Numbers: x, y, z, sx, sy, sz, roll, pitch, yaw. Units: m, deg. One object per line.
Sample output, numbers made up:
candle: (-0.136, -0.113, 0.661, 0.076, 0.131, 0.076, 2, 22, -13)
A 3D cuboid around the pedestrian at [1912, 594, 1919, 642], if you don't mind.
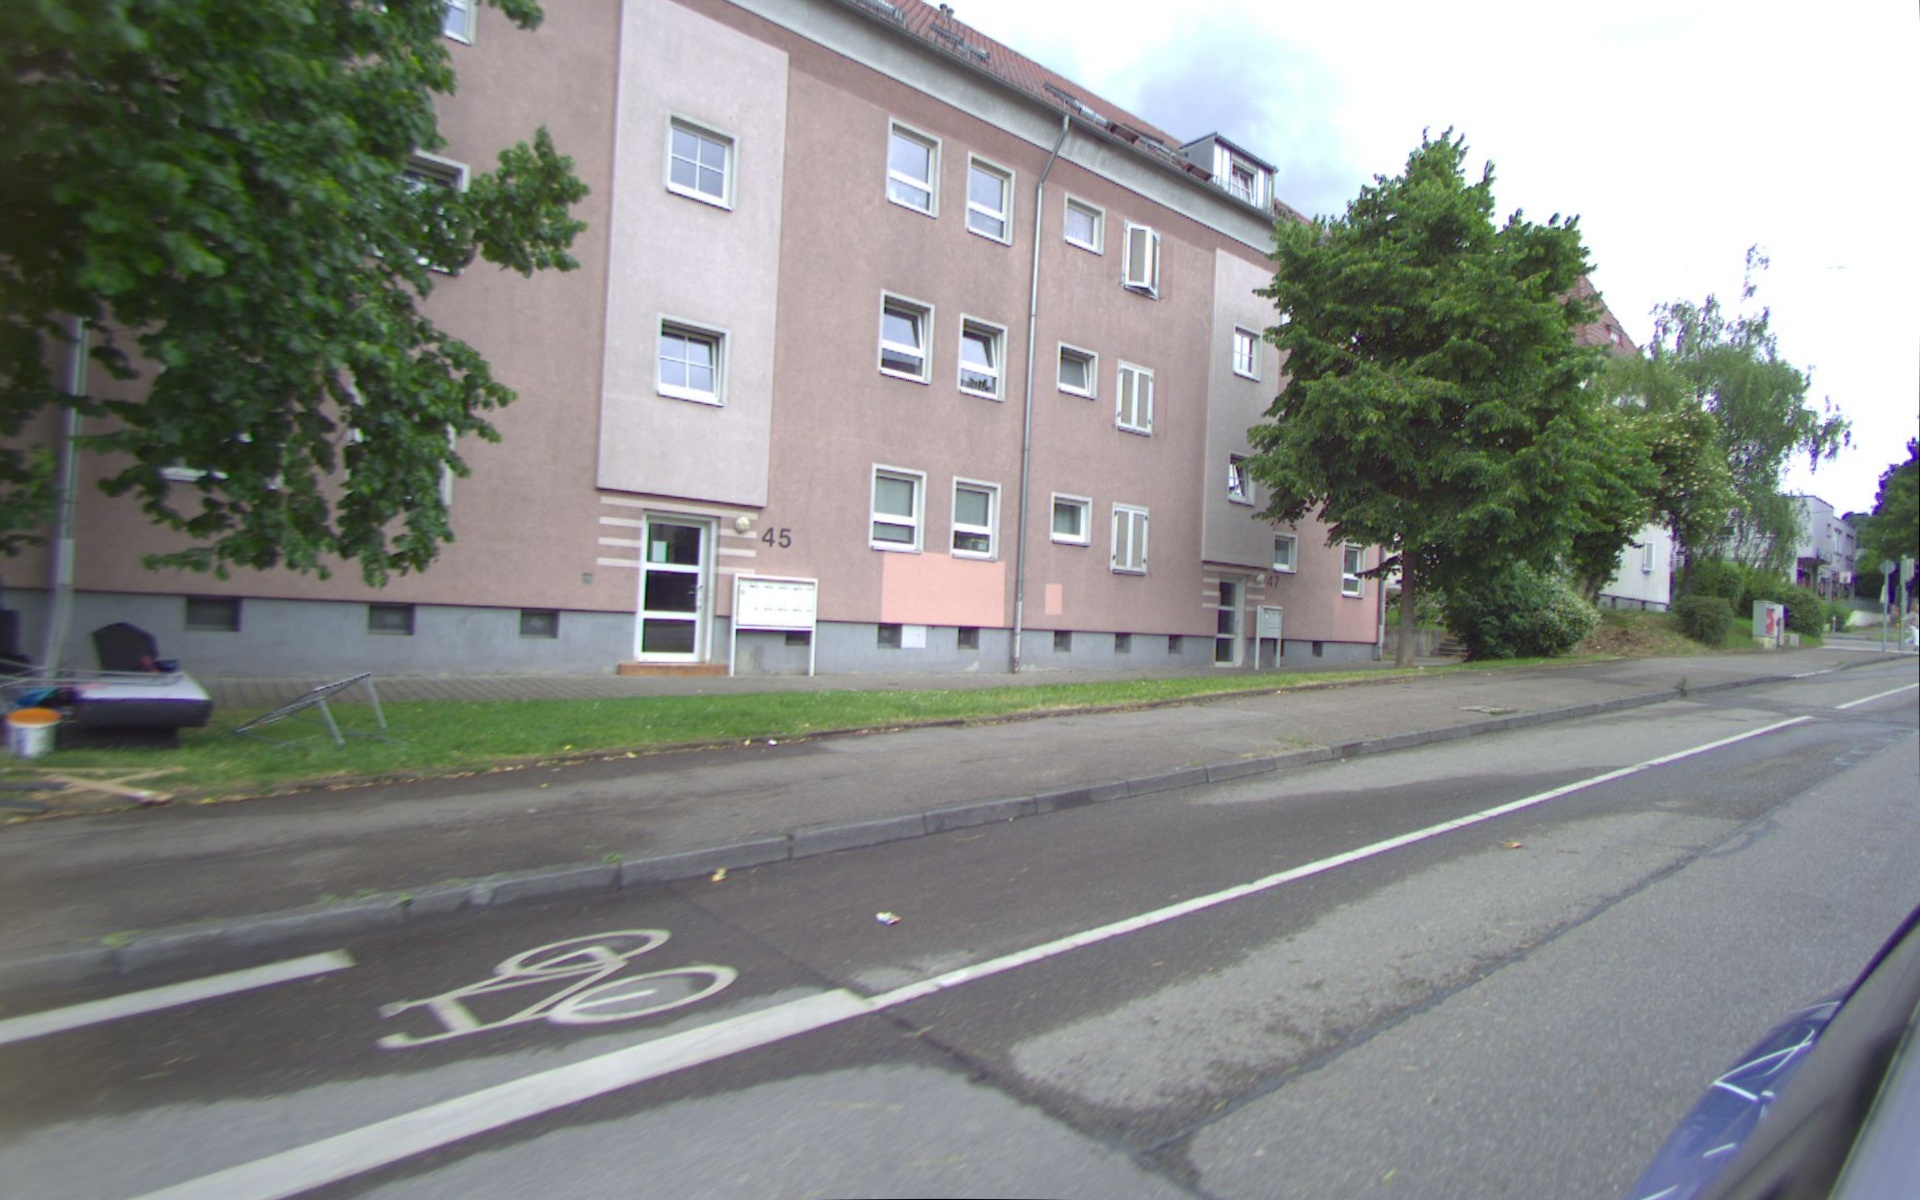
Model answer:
pedestrian: (34.554, 0.671, 36.143, 0.564, 1.706, 0.659, 3, 1, -38)
